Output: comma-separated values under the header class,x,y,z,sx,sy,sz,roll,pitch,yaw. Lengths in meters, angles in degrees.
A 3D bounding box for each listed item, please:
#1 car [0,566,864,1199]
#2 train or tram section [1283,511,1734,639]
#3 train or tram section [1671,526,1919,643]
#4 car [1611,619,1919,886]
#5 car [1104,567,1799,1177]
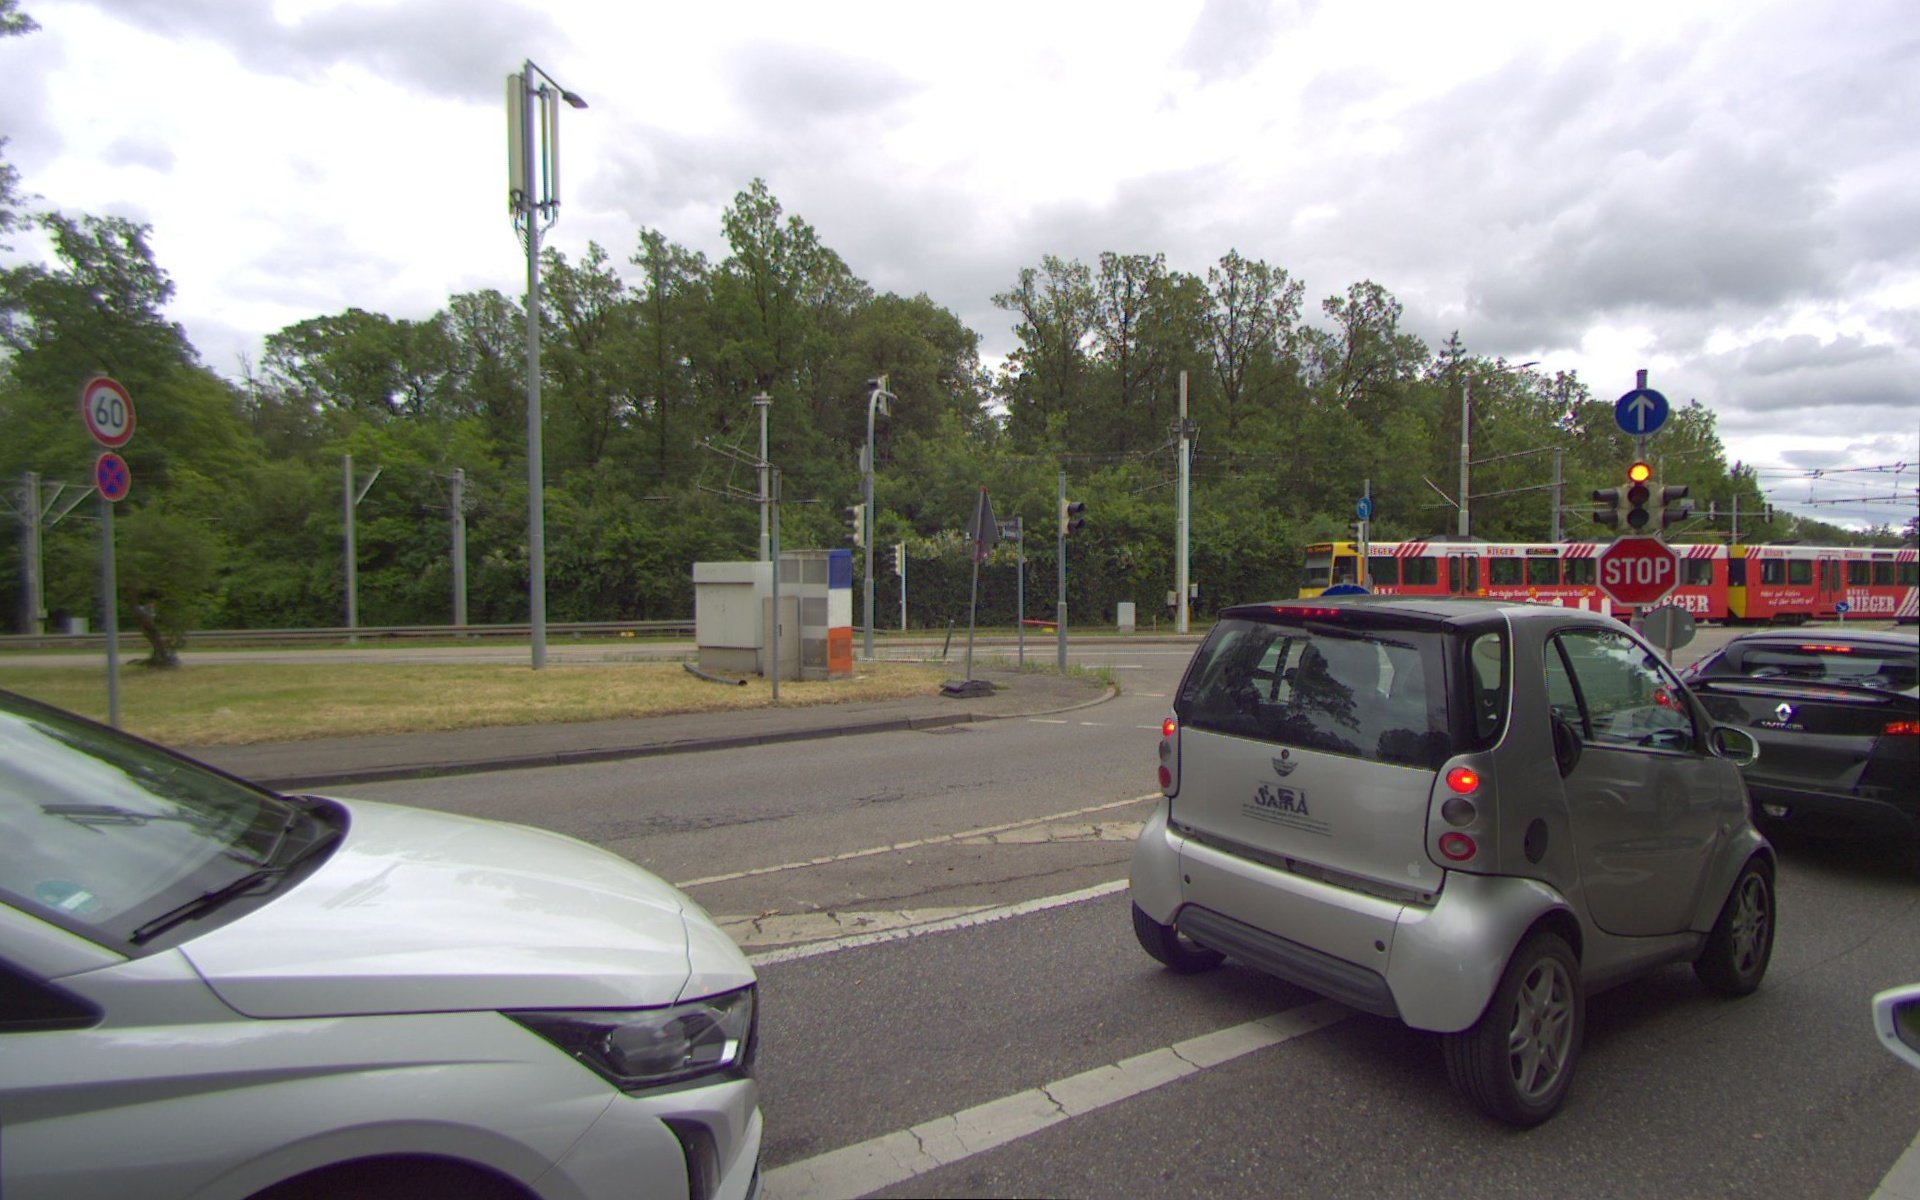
class,x,y,z,sx,sy,sz,roll,pitch,yaw
car,-2.320,0.709,1.608,4.022,1.499,1.643,0,0,-28
train or tram section,22.636,-0.896,41.386,18.392,4.477,2.960,2,0,-10
train or tram section,40.816,-0.480,46.253,18.256,4.712,2.944,2,0,-19
car,6.062,0.845,6.927,3.448,1.380,1.759,0,0,-41
car,2.051,0.725,4.040,2.701,1.607,1.447,0,0,-36
